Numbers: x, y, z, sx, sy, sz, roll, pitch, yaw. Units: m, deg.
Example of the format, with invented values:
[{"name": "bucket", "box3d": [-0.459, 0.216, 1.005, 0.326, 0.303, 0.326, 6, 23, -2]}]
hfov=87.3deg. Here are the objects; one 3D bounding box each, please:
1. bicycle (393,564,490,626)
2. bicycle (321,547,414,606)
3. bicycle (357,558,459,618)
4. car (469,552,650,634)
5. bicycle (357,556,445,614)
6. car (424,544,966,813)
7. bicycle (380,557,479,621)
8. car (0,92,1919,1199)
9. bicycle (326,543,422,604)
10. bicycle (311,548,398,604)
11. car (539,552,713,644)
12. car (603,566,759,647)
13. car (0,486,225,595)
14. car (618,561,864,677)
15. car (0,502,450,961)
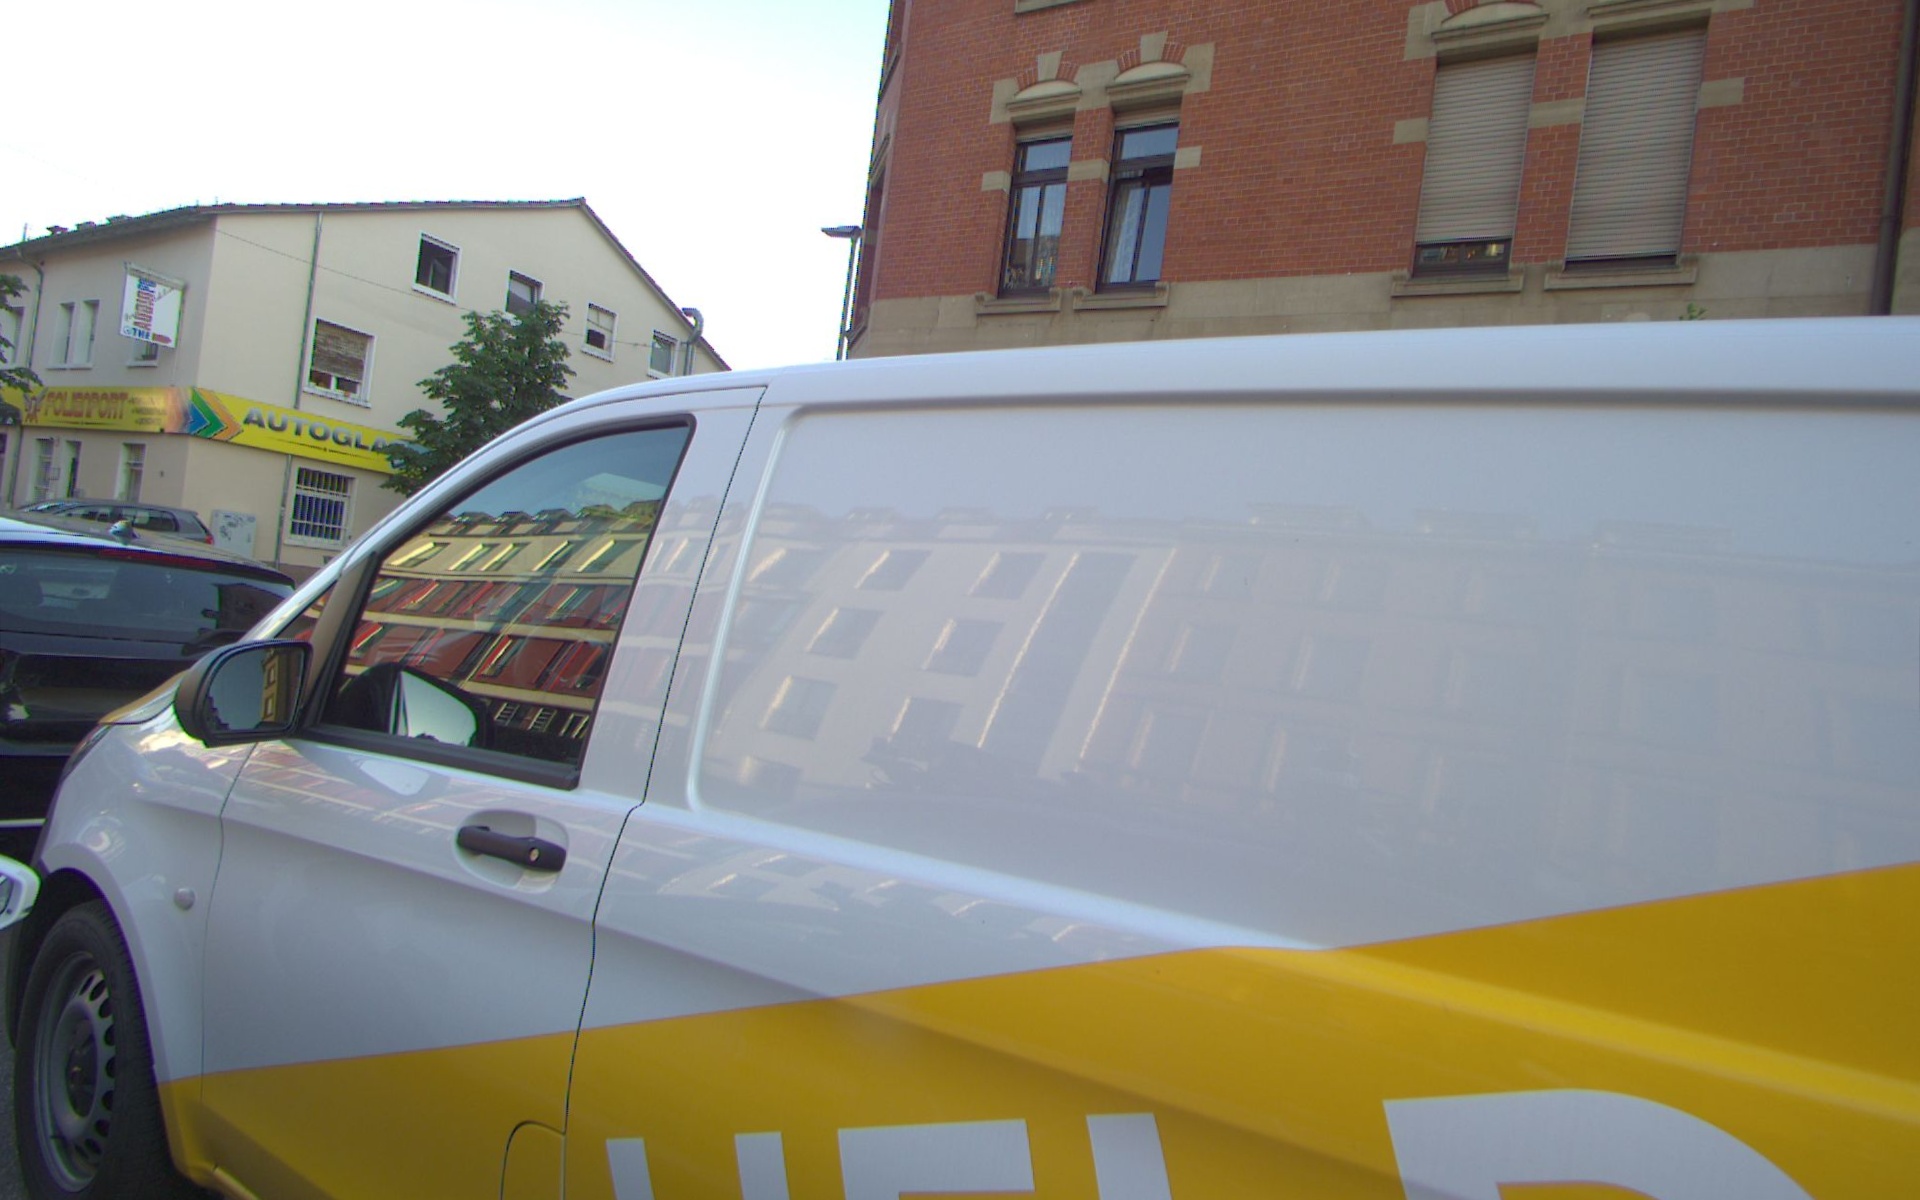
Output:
[{"name": "bicycle", "box3d": [-10.915, -0.084, 21.259, 0.420, 1.087, 1.856, 10, -1, 23]}, {"name": "bicycle", "box3d": [-13.305, -0.500, 22.623, 0.338, 1.082, 1.735, 10, 0, 30]}, {"name": "bicycle", "box3d": [-11.876, -0.240, 21.711, 0.421, 1.022, 1.853, 10, -1, 32]}, {"name": "car", "box3d": [-10.289, -0.191, 25.759, 4.494, 1.528, 1.744, 7, 0, 29]}, {"name": "bicycle", "box3d": [-12.250, -0.316, 22.085, 0.338, 1.053, 1.605, 10, 0, 32]}, {"name": "car", "box3d": [-2.324, 0.509, 8.452, 4.348, 1.442, 1.728, 7, 1, 30]}, {"name": "bicycle", "box3d": [-11.286, -0.207, 21.470, 0.420, 1.141, 1.925, 8, -1, 23]}, {"name": "car", "box3d": [0.094, 0.583, 2.027, 4.996, 1.906, 1.897, 7, -1, 30]}, {"name": "bicycle", "box3d": [-13.708, -0.608, 23.602, 0.338, 1.162, 1.864, 10, 0, 32]}, {"name": "bicycle", "box3d": [-13.650, -0.523, 22.714, 0.338, 1.031, 1.606, 10, 0, 30]}, {"name": "car", "box3d": [-9.226, -0.072, 27.729, 4.499, 1.854, 1.876, 8, 0, 30]}, {"name": "car", "box3d": [-8.306, 0.173, 29.853, 4.259, 1.924, 1.876, 5, -1, 30]}, {"name": "car", "box3d": [-16.043, -1.108, 18.154, 1.727, 1.533, 4.054, 9, 1, 32]}, {"name": "car", "box3d": [-3.795, 0.431, 18.226, 1.846, 1.692, 4.327, 5, -2, 29]}, {"name": "car", "box3d": [-4.530, 0.272, 4.713, 4.182, 1.440, 1.725, 7, -2, 31]}]
